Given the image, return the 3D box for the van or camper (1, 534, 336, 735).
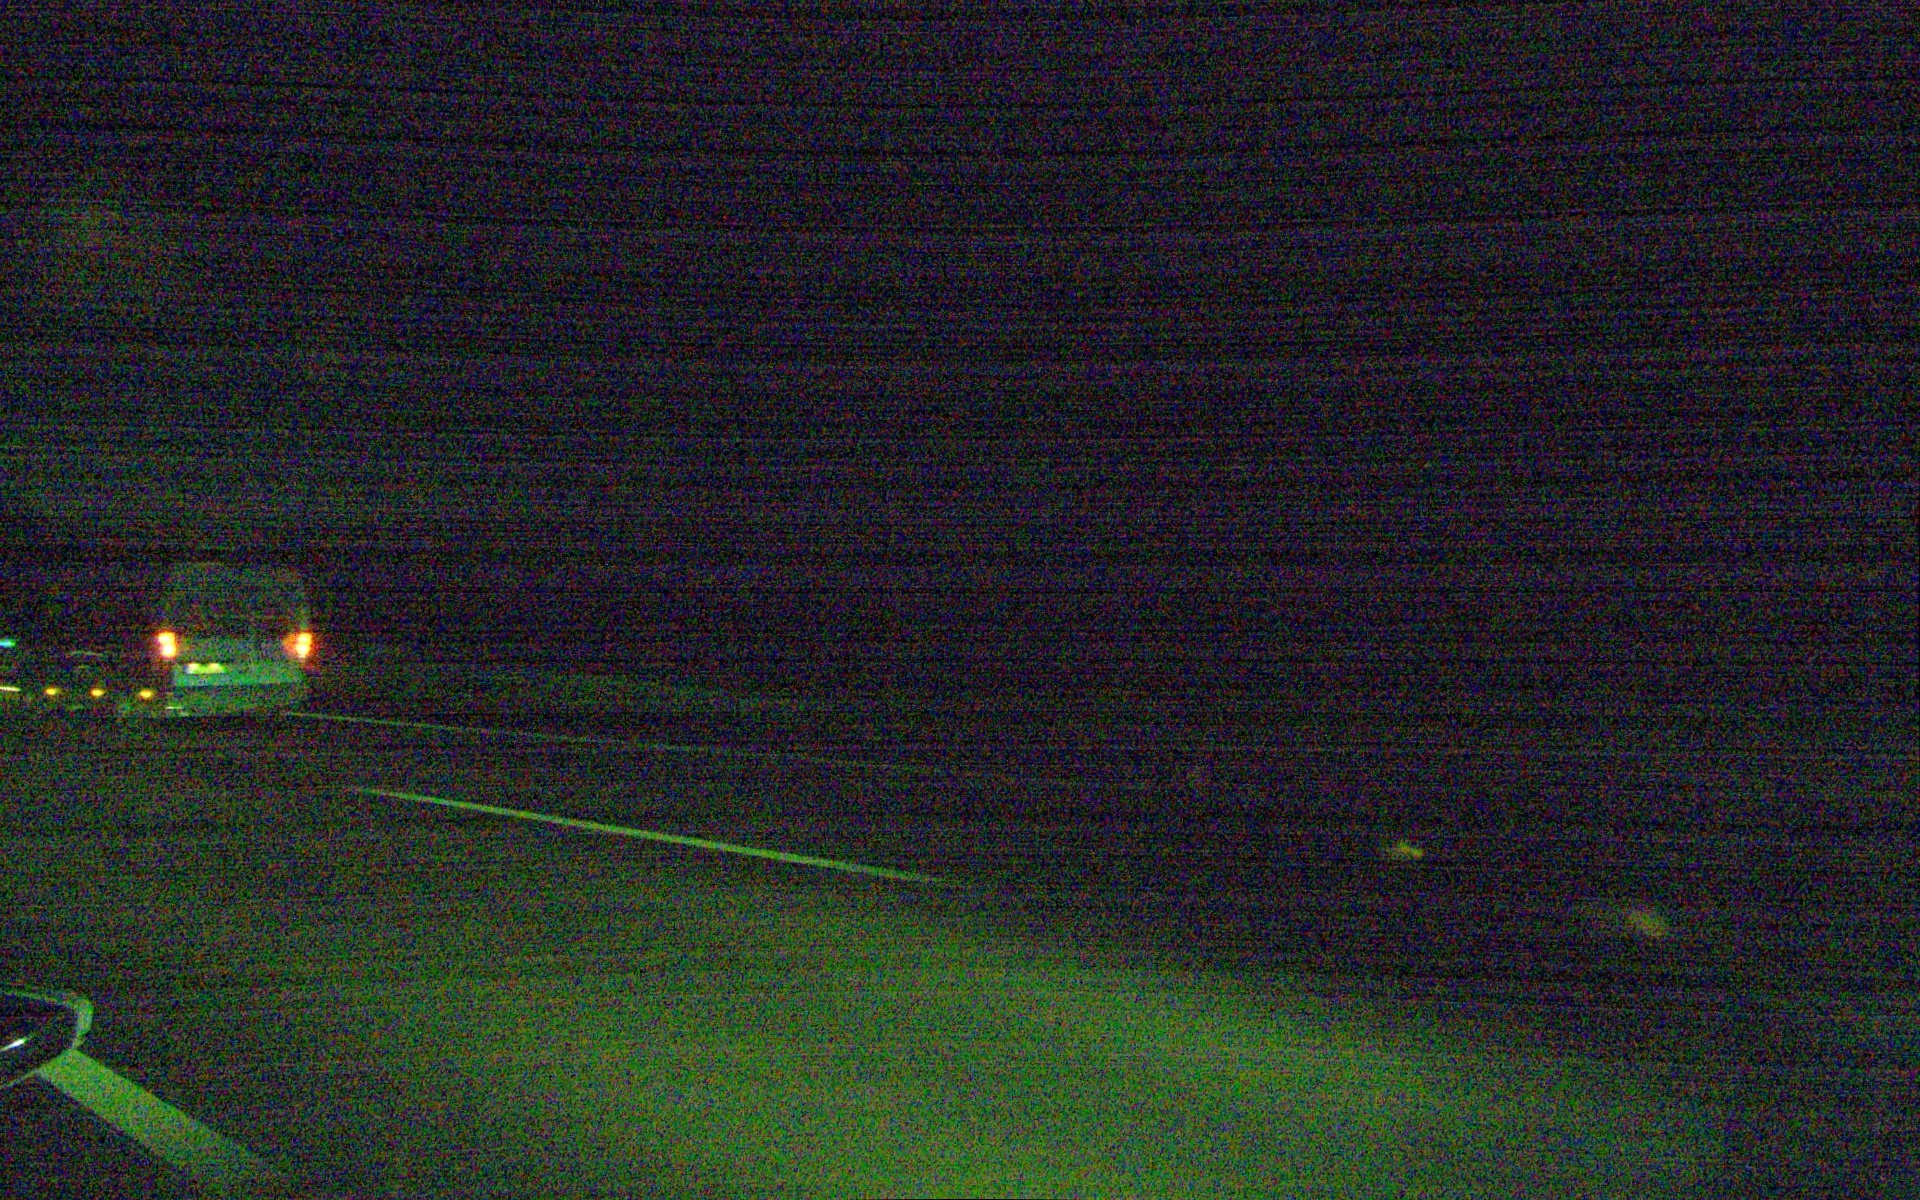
[{"bbox_3d":[-13.347,0.544,16.708,6.705,2.807,2.204,0,-1,31],"label":"van or camper"}]
